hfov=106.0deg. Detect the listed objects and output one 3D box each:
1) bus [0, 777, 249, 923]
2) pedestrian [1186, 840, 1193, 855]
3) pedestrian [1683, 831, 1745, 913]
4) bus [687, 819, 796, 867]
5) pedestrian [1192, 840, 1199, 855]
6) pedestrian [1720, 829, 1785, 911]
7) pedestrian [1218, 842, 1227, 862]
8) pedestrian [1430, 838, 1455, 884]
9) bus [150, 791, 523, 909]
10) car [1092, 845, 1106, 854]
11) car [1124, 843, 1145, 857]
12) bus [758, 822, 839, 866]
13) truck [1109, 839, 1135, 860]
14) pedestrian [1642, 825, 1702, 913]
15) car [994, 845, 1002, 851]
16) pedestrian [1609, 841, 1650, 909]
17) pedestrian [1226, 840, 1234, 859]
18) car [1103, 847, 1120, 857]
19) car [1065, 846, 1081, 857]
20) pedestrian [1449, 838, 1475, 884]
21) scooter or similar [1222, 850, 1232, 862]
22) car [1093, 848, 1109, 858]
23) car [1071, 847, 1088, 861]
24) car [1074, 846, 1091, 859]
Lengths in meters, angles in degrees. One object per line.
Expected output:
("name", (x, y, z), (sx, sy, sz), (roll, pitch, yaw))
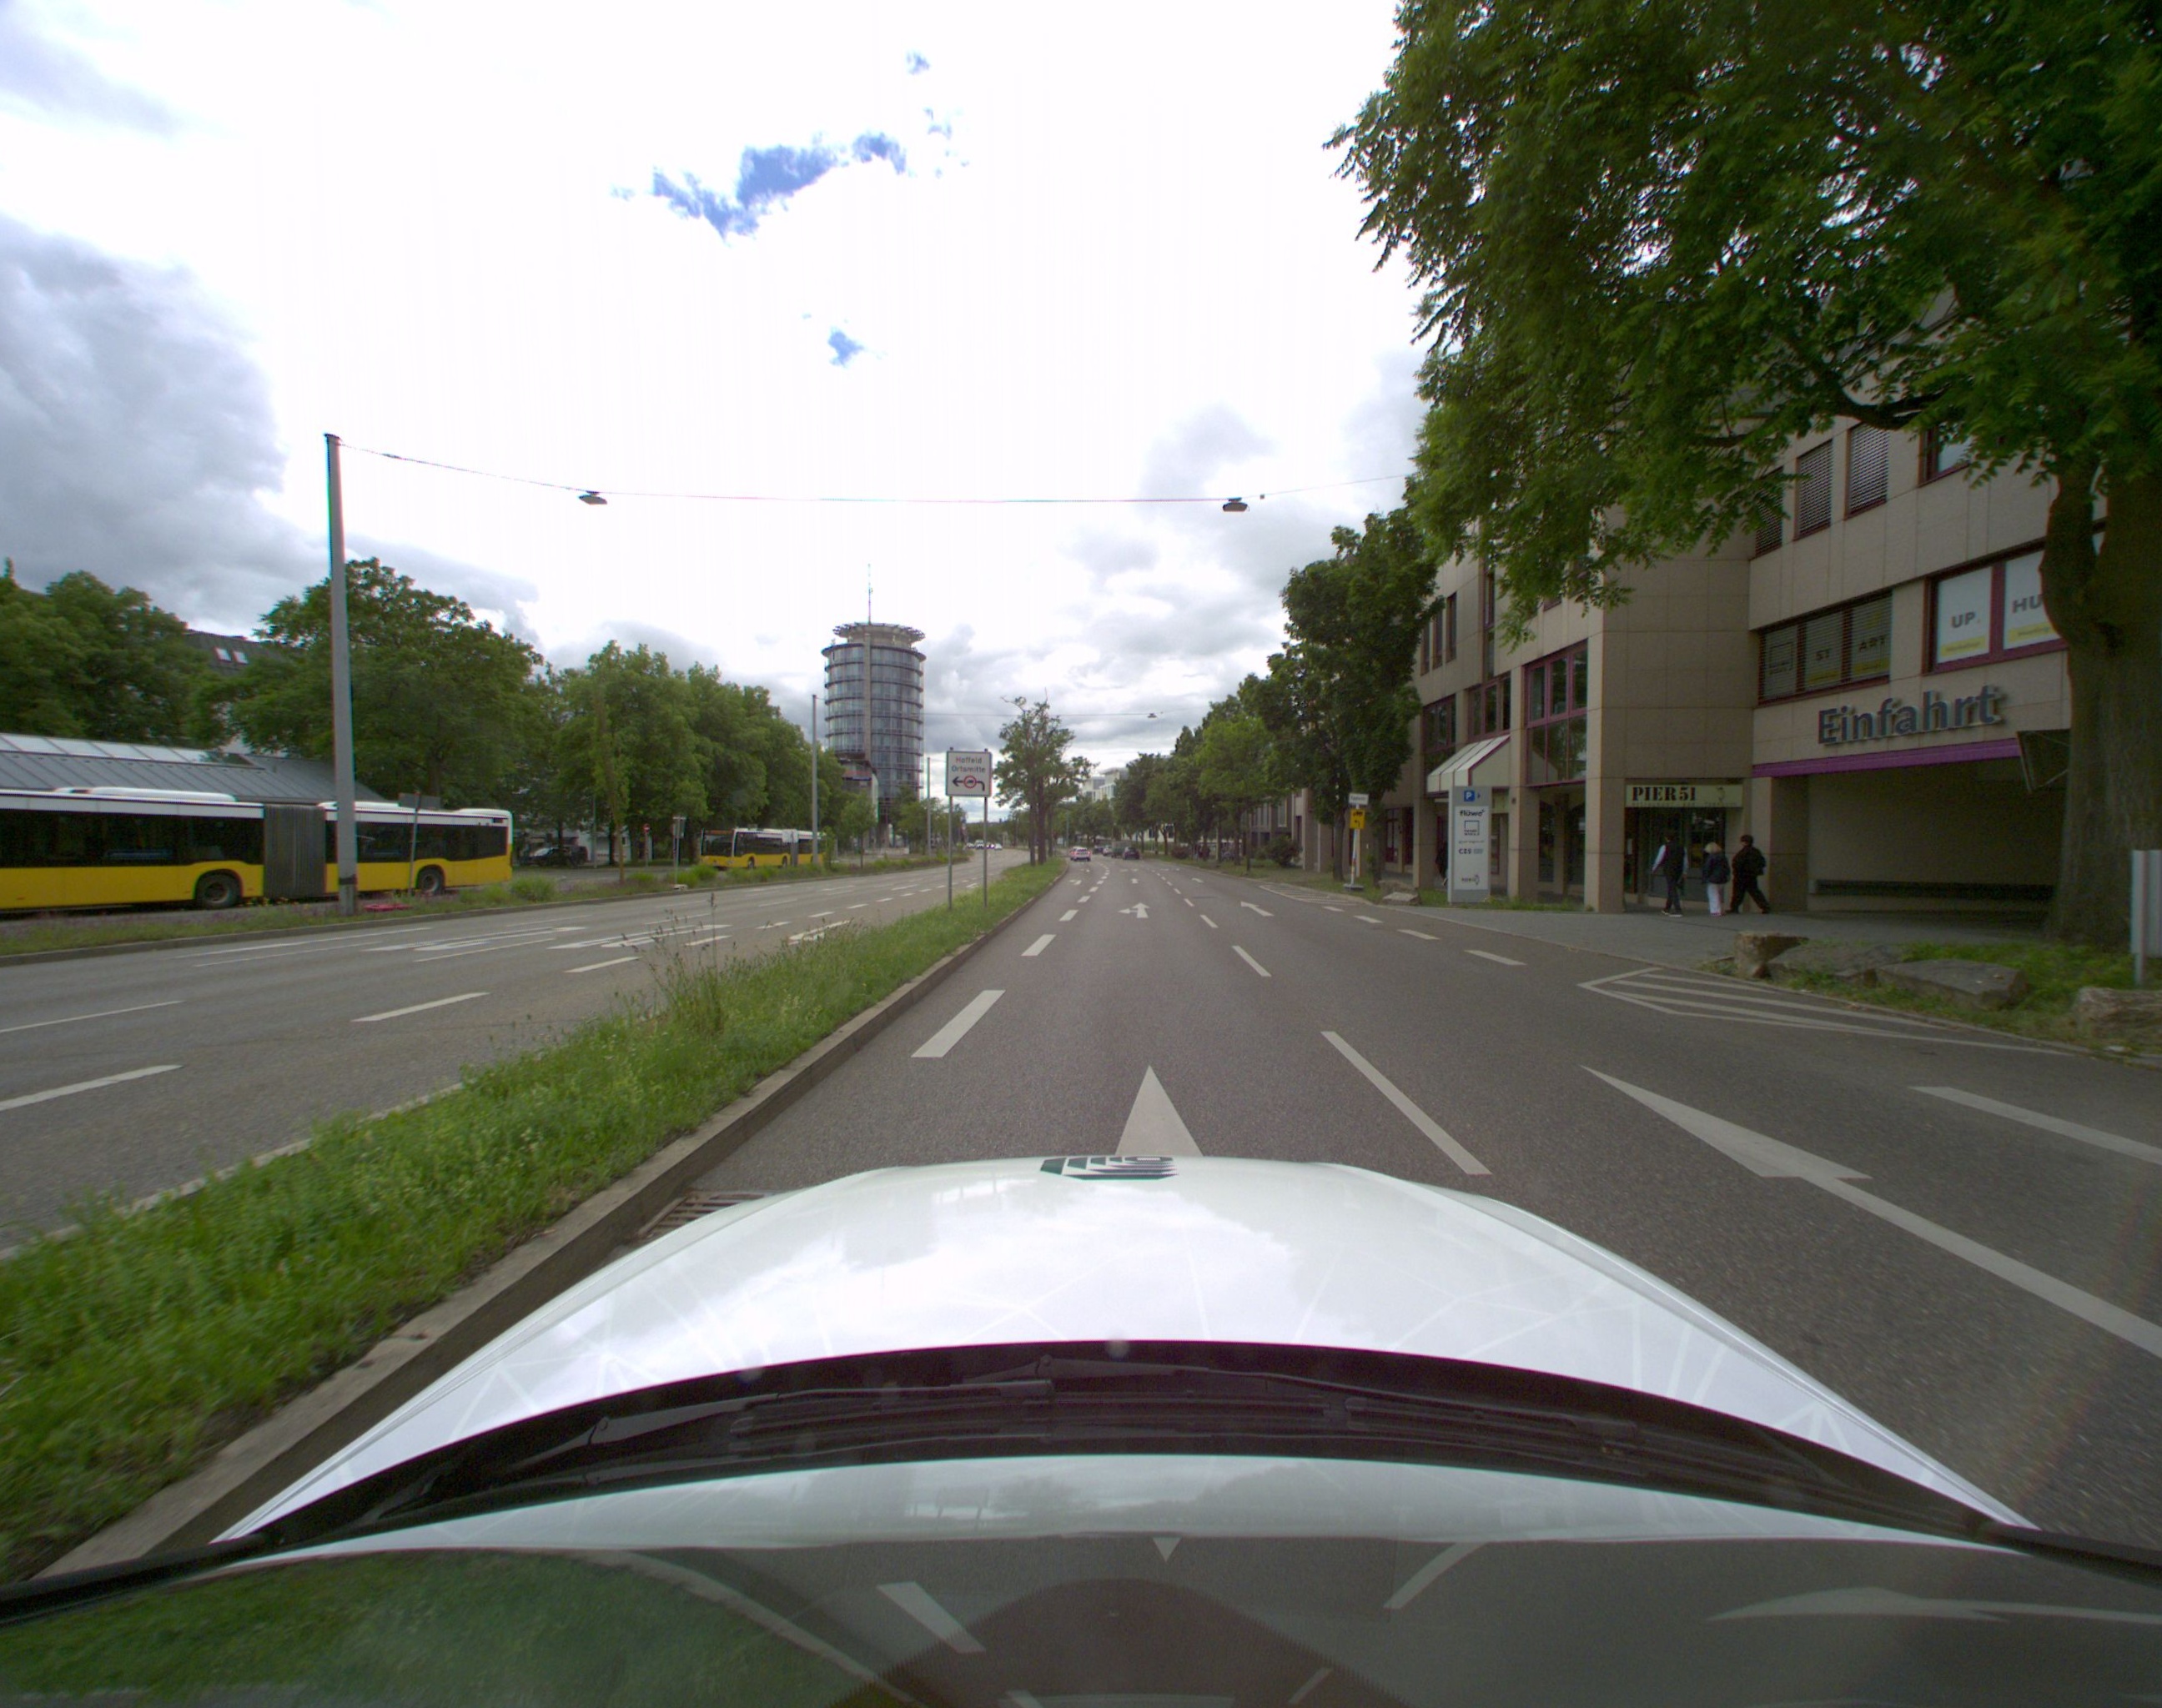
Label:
("bus", (-24.596, -0.115, 17.611), (2.761, 3.132, 9.456), (2, 1, 6))
("pedestrian", (12.796, -0.792, 96.023), (0.607, 1.775, 0.953), (0, 2, -1))
("pedestrian", (13.578, 0.378, 17.487), (0.654, 1.691, 0.843), (-2, 0, 3))
("bus", (-24.652, -0.795, 59.996), (3.071, 3.162, 10.744), (1, 1, 3))
("pedestrian", (13.523, -0.796, 96.183), (0.607, 1.775, 0.953), (0, 2, -1))
("pedestrian", (14.345, 0.340, 17.416), (0.654, 1.691, 0.843), (-2, 0, 3))
("pedestrian", (12.231, -0.177, 70.392), (0.554, 1.652, 0.960), (-2, 0, -5))
("pedestrian", (13.758, 0.249, 31.019), (0.592, 1.705, 0.970), (0, 0, 4))
("bus", (-23.463, -0.167, 26.766), (2.794, 3.132, 9.320), (2, 1, 8))
("car", (3.026, -0.789, 135.294), (1.990, 1.490, 3.994), (0, 1, -4))
("car", (6.132, -0.508, 94.096), (1.989, 1.596, 3.997), (0, 0, -2))
("bus", (-24.152, -0.865, 70.420), (3.018, 3.455, 9.919), (1, 0, 3))
("truck", (5.271, -0.569, 106.341), (2.852, 2.519, 6.282), (0, 0, -2))
("pedestrian", (12.771, 0.317, 17.613), (0.654, 1.826, 0.843), (-2, 0, 3))
("car", (-20.960, -1.636, 206.247), (1.750, 1.444, 4.128), (1, 0, -4))
("pedestrian", (12.845, 0.484, 19.078), (0.559, 1.550, 0.544), (-2, 0, 3))
("pedestrian", (12.893, -0.385, 70.513), (0.565, 1.700, 0.830), (0, 0, 3))
("car", (4.306, -0.301, 116.479), (1.990, 1.508, 3.994), (-1, 1, -4))
("car", (-1.109, -0.325, 117.727), (1.985, 1.508, 4.004), (0, 1, 4))
("pedestrian", (14.477, 0.264, 30.980), (0.592, 1.705, 0.970), (0, 0, 4))
("scooter or similar", (12.446, 0.148, 69.504), (0.582, 0.993, 0.845), (-2, 0, -5))
("car", (3.331, -0.172, 135.535), (1.993, 1.508, 3.988), (0, 0, -9))
("car", (-0.254, -0.014, 98.448), (1.988, 1.672, 3.998), (0, 0, -1))
("car", (0.182, -0.179, 91.320), (1.857, 1.449, 4.000), (0, 0, 1))
